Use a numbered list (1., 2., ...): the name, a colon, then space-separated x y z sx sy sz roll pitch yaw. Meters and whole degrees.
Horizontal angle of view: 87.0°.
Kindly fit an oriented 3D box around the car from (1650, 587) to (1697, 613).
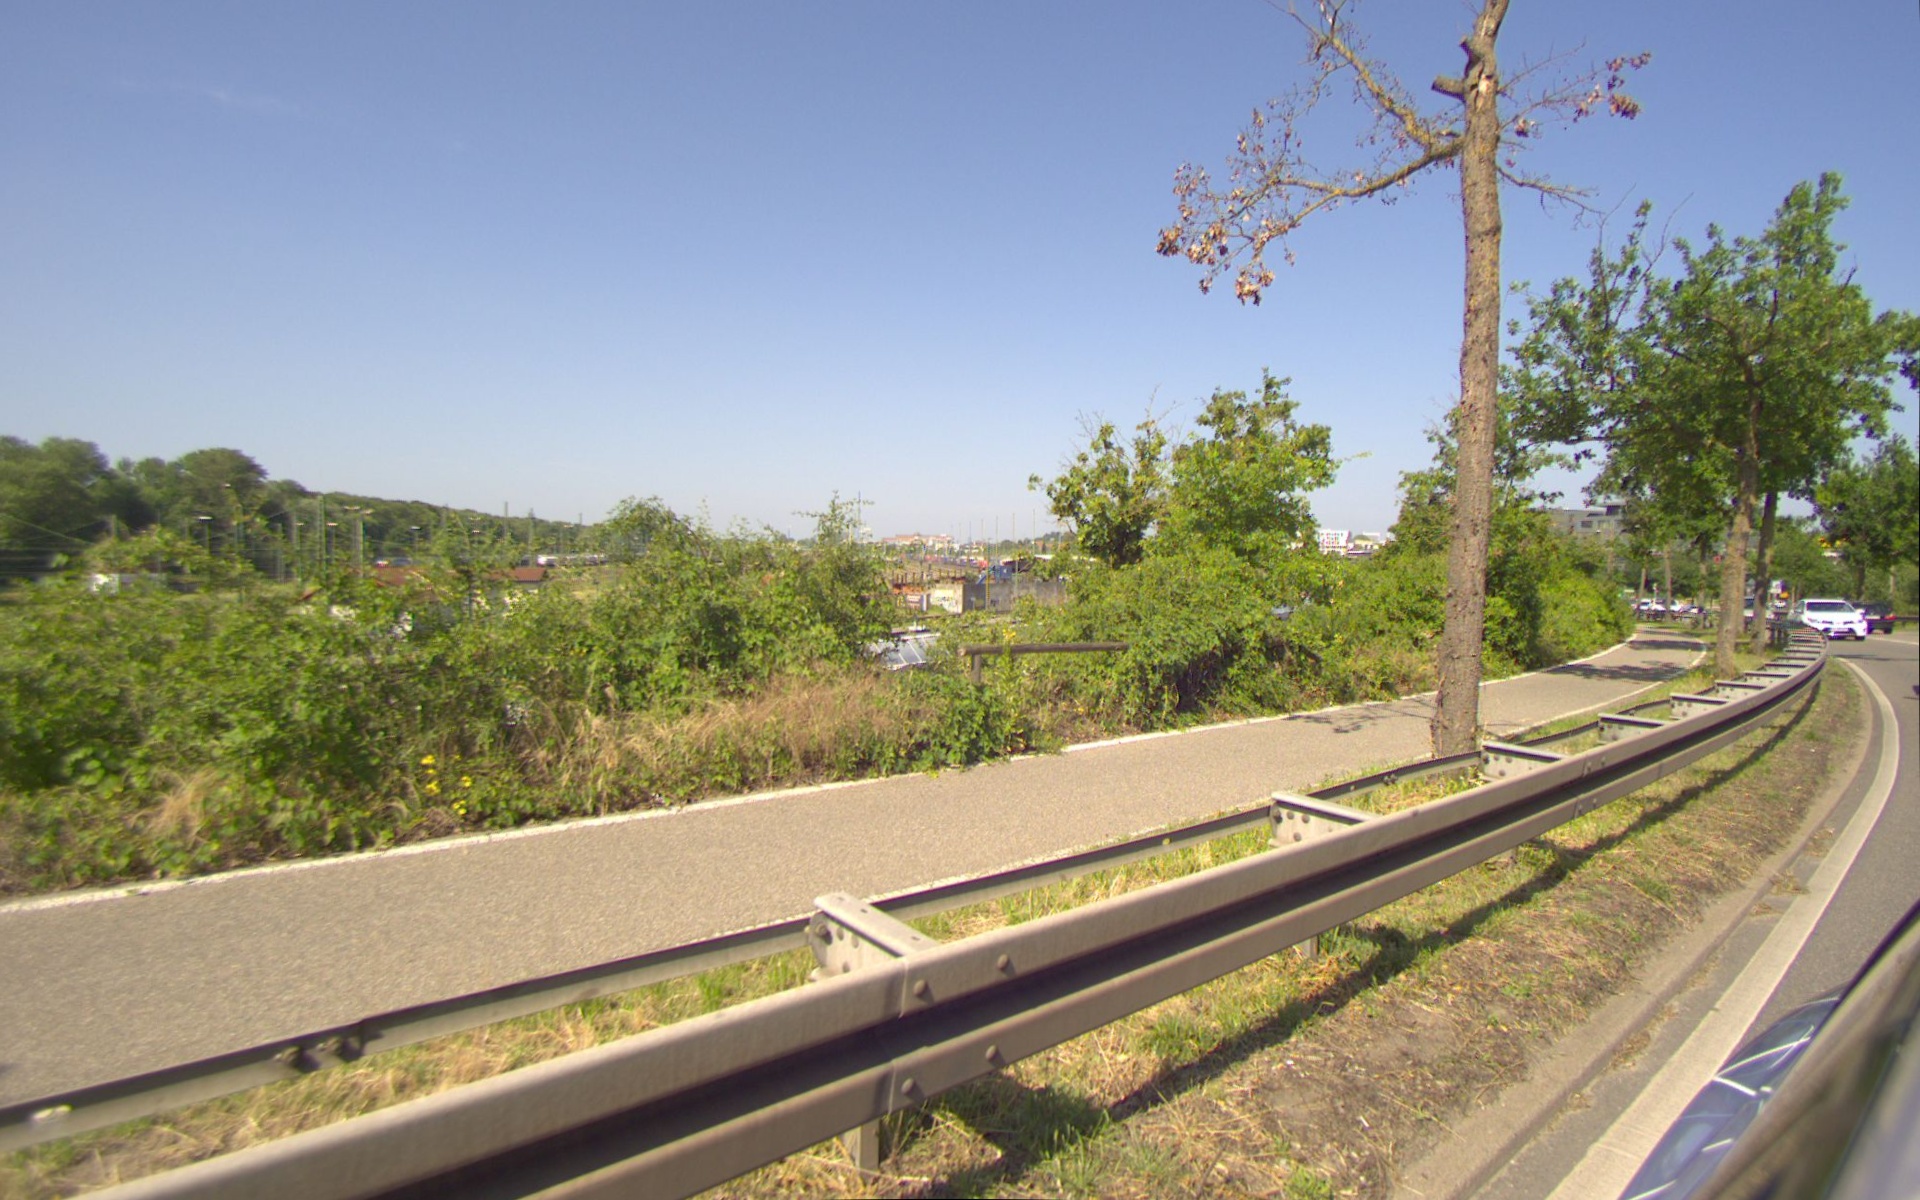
1. car: 50.992 -0.012 72.369 1.978 1.790 3.967 -1 0 24

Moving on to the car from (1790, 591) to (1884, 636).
1. car: 31.708 0.444 36.699 1.832 1.507 4.107 0 0 30

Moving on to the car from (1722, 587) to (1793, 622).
1. car: 38.534 0.209 49.012 1.981 1.605 3.961 1 1 28

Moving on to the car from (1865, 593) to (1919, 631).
1. car: 38.975 0.468 41.791 1.694 1.467 4.073 -1 0 32
